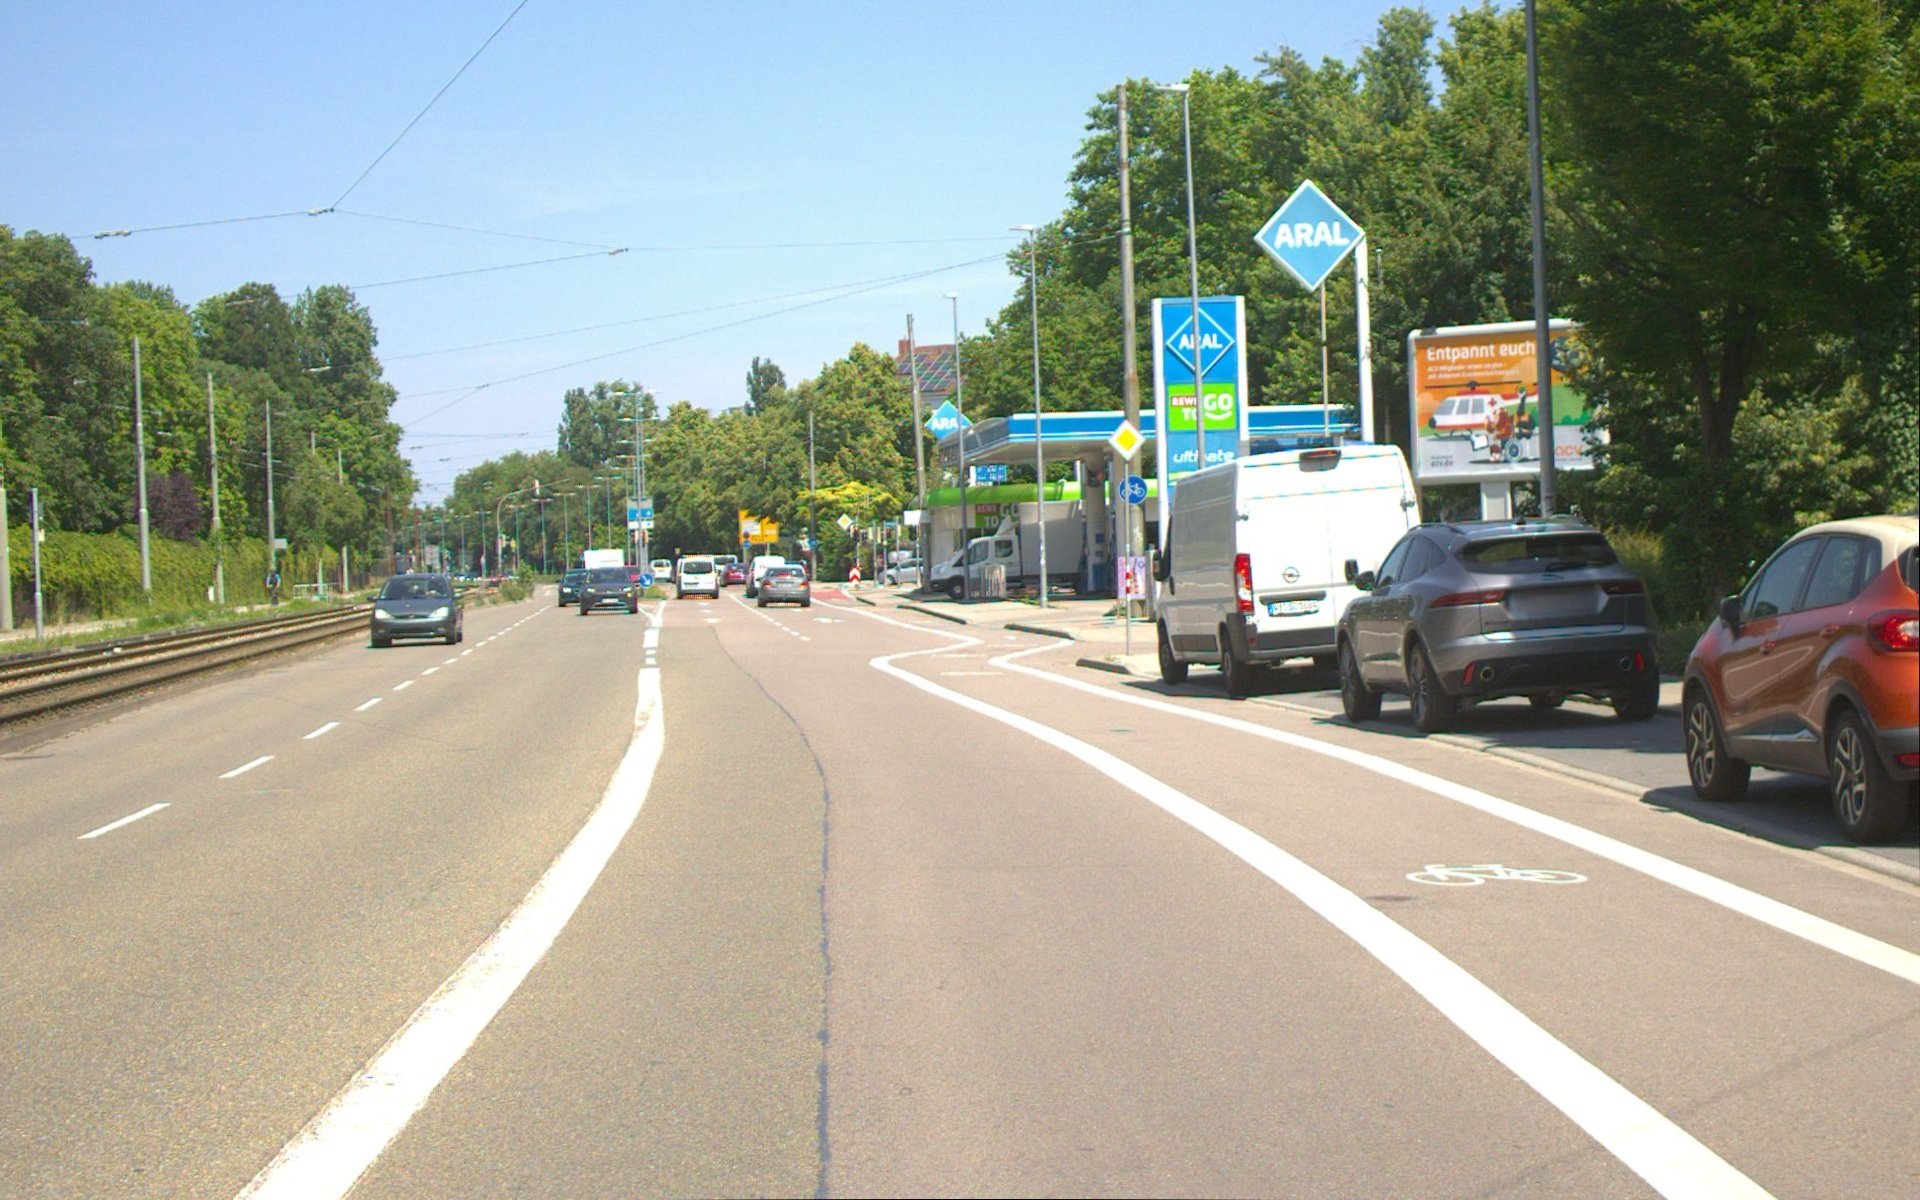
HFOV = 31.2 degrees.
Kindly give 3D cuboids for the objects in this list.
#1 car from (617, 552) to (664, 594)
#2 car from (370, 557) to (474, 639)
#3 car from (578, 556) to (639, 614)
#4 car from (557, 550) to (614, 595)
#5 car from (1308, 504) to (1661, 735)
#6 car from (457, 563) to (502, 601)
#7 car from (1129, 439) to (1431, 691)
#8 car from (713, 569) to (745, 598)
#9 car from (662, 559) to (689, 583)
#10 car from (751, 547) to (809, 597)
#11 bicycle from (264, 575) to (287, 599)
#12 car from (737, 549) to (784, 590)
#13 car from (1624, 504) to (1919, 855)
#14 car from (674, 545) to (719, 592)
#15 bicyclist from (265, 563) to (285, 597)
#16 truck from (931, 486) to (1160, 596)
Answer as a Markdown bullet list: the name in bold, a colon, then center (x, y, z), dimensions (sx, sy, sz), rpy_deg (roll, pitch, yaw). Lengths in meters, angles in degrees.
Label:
- **car**: center (-13.497, -1.142, 145.398), dimensions (1.755, 1.625, 4.324), rpy_deg (-4, 1, -4)
- **car**: center (-11.073, -0.072, 70.986), dimensions (1.755, 1.504, 4.325), rpy_deg (-4, 1, -5)
- **car**: center (-11.017, -0.489, 108.043), dimensions (1.755, 1.625, 4.325), rpy_deg (-4, 1, -5)
- **car**: center (-14.627, -1.076, 134.167), dimensions (1.755, 1.625, 4.325), rpy_deg (-4, 1, -10)
- **car**: center (4.200, 0.117, 28.208), dimensions (1.755, 1.625, 4.325), rpy_deg (-4, 1, -5)
- **car**: center (-22.336, -0.858, 159.680), dimensions (1.755, 1.625, 4.325), rpy_deg (-4, 1, -10)
- **car**: center (3.450, -0.404, 38.396), dimensions (2.001, 2.448, 6.111), rpy_deg (-4, 1, -6)
- **car**: center (-14.257, -1.053, 212.045), dimensions (1.755, 1.625, 4.325), rpy_deg (-4, 1, -5)
- **car**: center (-20.943, -2.137, 252.944), dimensions (1.755, 1.625, 4.325), rpy_deg (-4, 1, -5)
- **car**: center (-6.392, -1.012, 121.989), dimensions (1.755, 1.625, 4.325), rpy_deg (-4, 1, -5)
- **bicycle**: center (-32.397, -0.596, 162.804), dimensions (0.681, 1.050, 2.009), rpy_deg (-6, 0, -3)
- **car**: center (-8.652, -1.345, 148.988), dimensions (1.755, 1.625, 4.325), rpy_deg (-4, 1, -5)
- **car**: center (4.966, 0.310, 18.156), dimensions (1.706, 1.557, 4.325), rpy_deg (-4, 1, -4)
- **car**: center (-11.340, -1.350, 147.792), dimensions (1.755, 1.868, 4.325), rpy_deg (-4, 1, -5)
- **bicyclist**: center (-32.435, -0.945, 162.811), dimensions (0.681, 1.569, 0.795), rpy_deg (-6, 0, -3)
- **truck**: center (3.046, -2.110, 122.546), dimensions (7.968, 3.590, 2.663), rpy_deg (-2, 1, 1)
